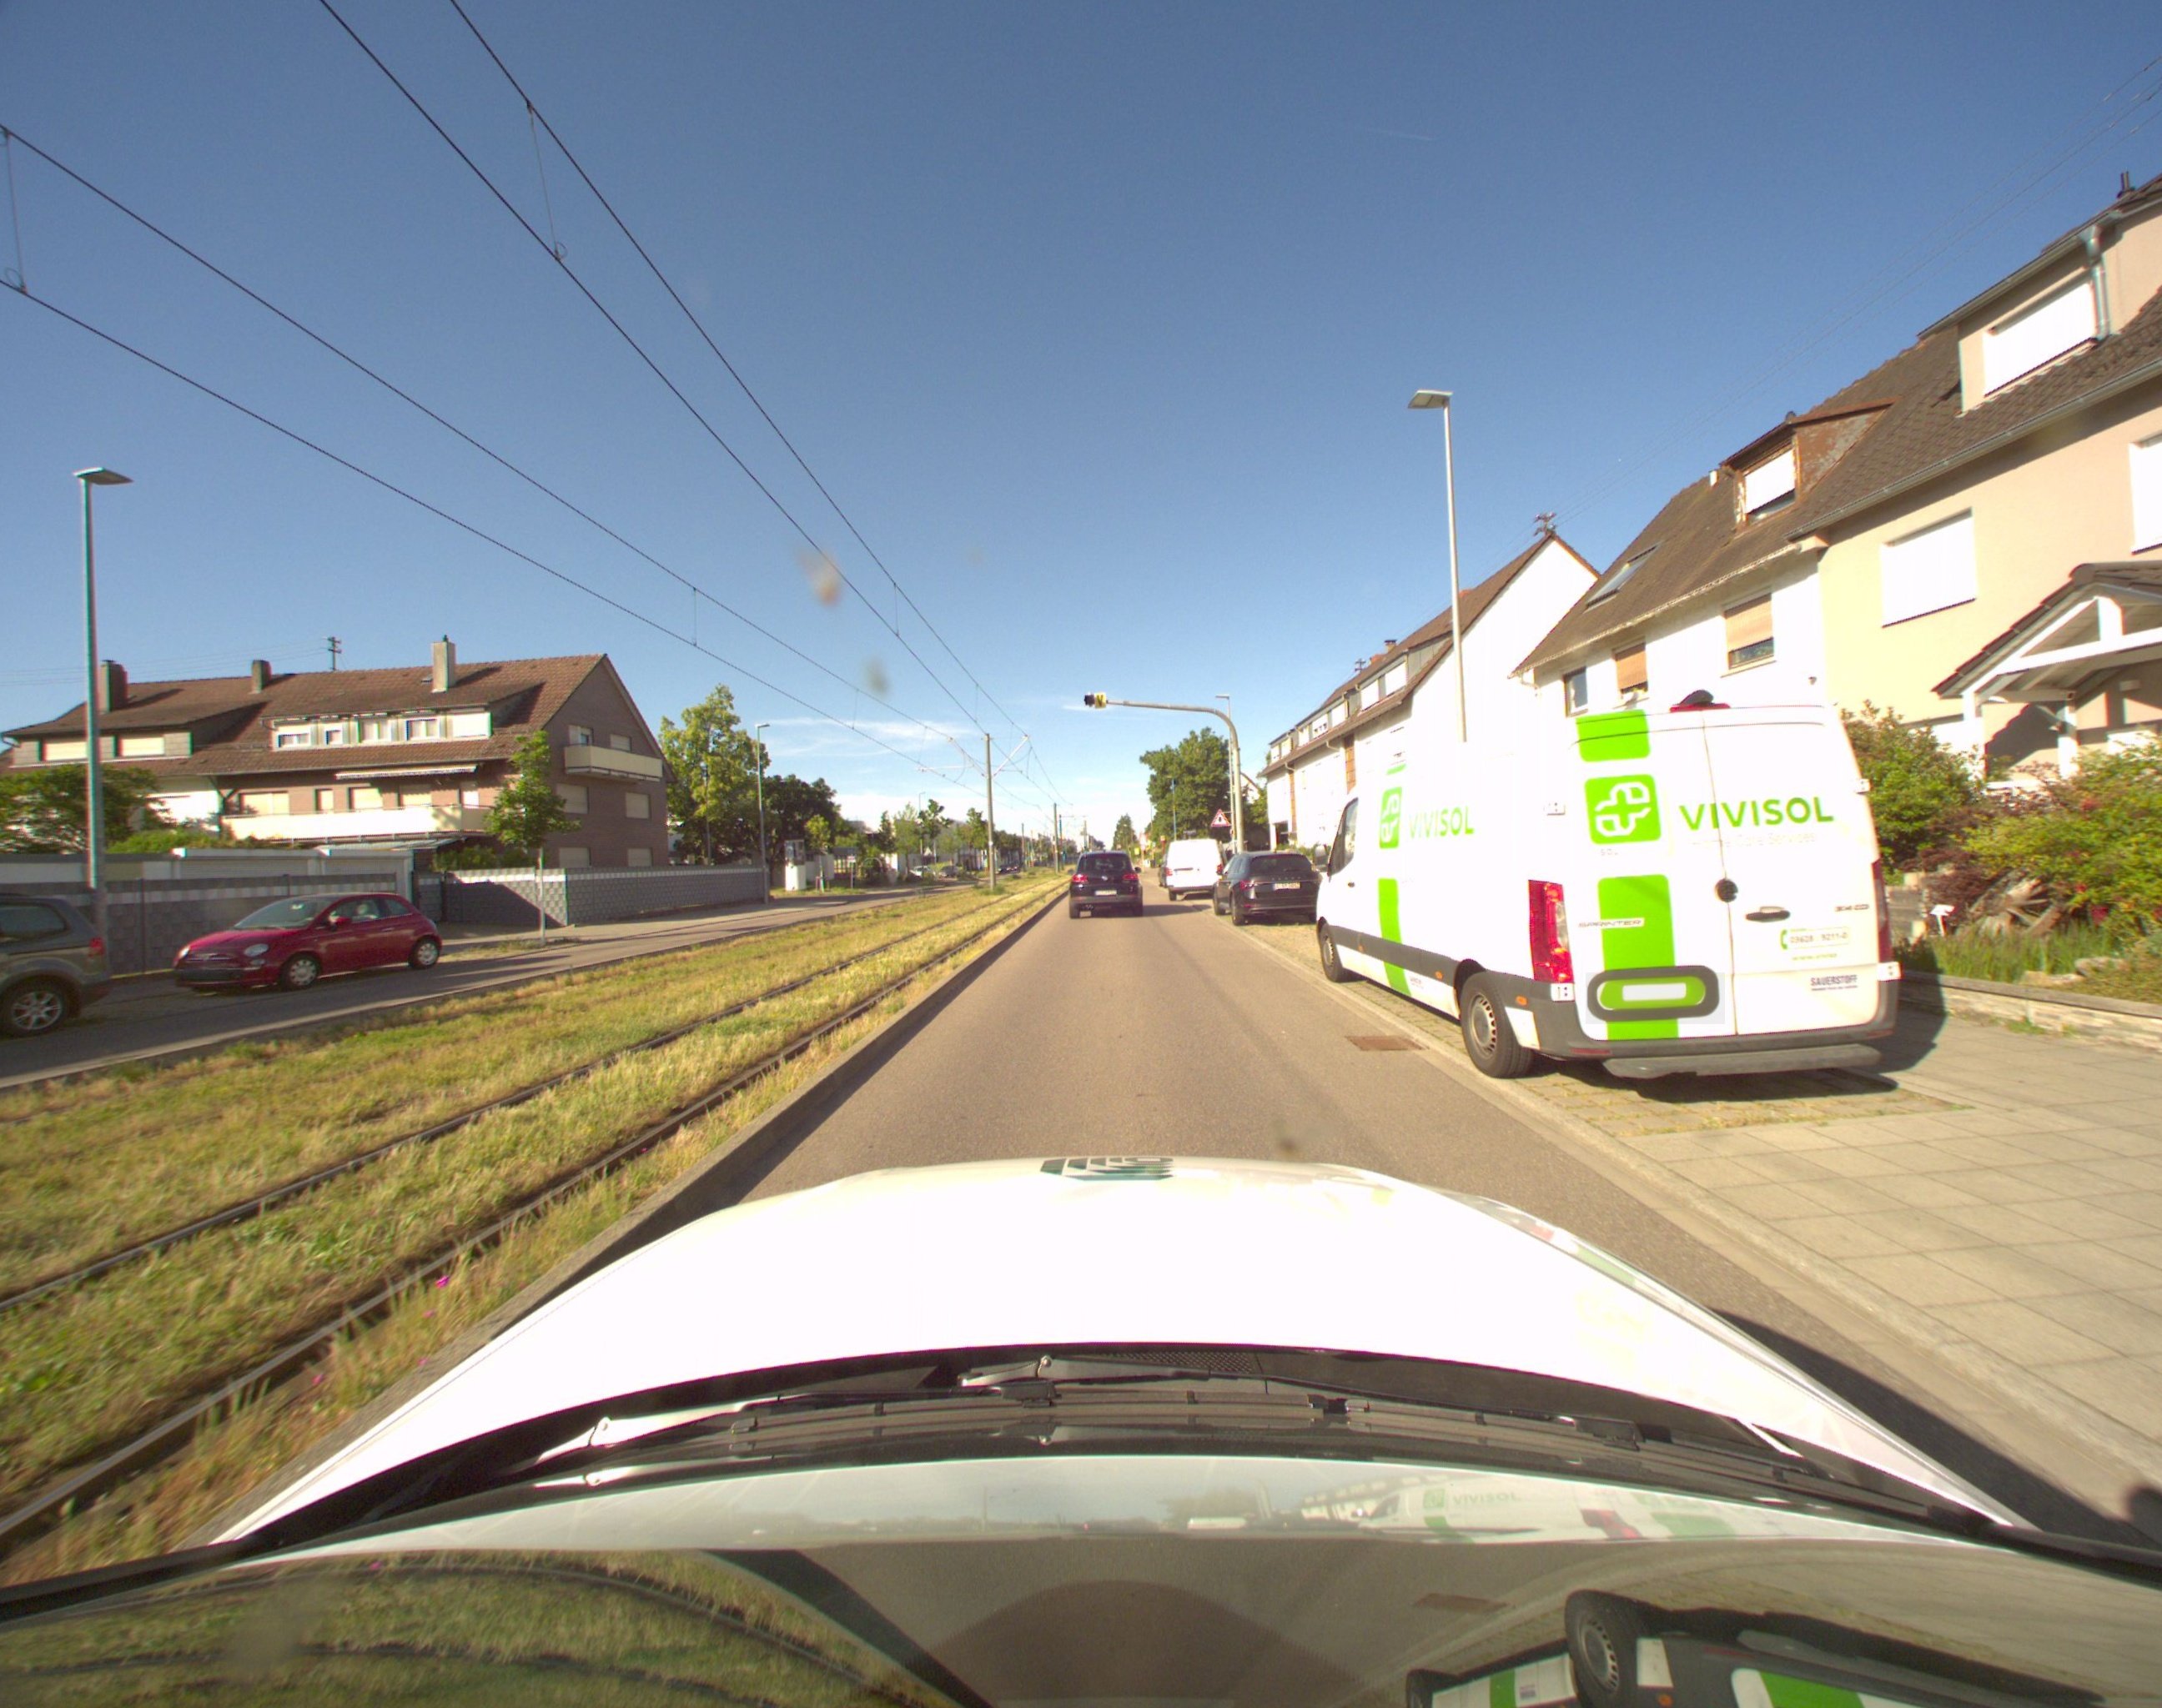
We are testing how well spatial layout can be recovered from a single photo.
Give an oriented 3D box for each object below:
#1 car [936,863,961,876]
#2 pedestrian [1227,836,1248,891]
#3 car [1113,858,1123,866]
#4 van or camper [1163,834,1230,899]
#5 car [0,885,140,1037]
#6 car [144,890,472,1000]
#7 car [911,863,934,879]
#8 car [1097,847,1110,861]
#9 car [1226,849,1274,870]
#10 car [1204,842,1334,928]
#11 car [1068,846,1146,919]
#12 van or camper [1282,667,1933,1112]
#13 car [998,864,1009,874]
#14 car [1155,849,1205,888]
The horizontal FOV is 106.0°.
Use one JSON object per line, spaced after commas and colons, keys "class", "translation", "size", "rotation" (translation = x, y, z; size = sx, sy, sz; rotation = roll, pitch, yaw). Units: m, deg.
{"class": "car", "translation": [-15.249, 1.735, 94.037], "size": [1.801, 1.461, 4.325], "rotation": [-1, -1, 6]}
{"class": "pedestrian", "translation": [5.518, 0.327, 28.743], "size": [0.694, 1.912, 0.761], "rotation": [-1, -1, 10]}
{"class": "car", "translation": [7.725, 1.732, 171.411], "size": [1.770, 1.670, 3.999], "rotation": [-2, -1, 0]}
{"class": "van or camper", "translation": [4.087, 0.385, 28.376], "size": [2.015, 1.956, 5.309], "rotation": [-3, 0, 10]}
{"class": "car", "translation": [-13.268, 1.248, 8.212], "size": [1.812, 1.684, 4.848], "rotation": [-1, 0, 2]}
{"class": "car", "translation": [-13.117, 1.452, 14.254], "size": [1.688, 1.405, 4.081], "rotation": [-3, 0, 2]}
{"class": "car", "translation": [-15.675, 1.674, 80.750], "size": [1.539, 1.491, 3.775], "rotation": [-1, -1, 1]}
{"class": "car", "translation": [4.410, -0.028, 159.299], "size": [2.385, 2.564, 5.533], "rotation": [-2, -1, 2]}
{"class": "car", "translation": [13.526, 0.460, 65.289], "size": [3.579, 1.530, 1.648], "rotation": [-3, -1, 3]}
{"class": "car", "translation": [3.919, 0.606, 17.868], "size": [1.742, 1.494, 5.157], "rotation": [-4, -1, 2]}
{"class": "car", "translation": [0.641, 0.698, 21.313], "size": [1.770, 1.670, 4.000], "rotation": [-2, -1, 0]}
{"class": "van or camper", "translation": [3.610, 0.221, 7.550], "size": [1.986, 2.271, 6.307], "rotation": [-4, -1, 2]}
{"class": "car", "translation": [-12.357, 2.416, 129.883], "size": [1.685, 1.389, 4.379], "rotation": [-4, -1, -5]}
{"class": "car", "translation": [4.728, 0.664, 39.512], "size": [1.785, 1.628, 4.861], "rotation": [-5, 0, 1]}
